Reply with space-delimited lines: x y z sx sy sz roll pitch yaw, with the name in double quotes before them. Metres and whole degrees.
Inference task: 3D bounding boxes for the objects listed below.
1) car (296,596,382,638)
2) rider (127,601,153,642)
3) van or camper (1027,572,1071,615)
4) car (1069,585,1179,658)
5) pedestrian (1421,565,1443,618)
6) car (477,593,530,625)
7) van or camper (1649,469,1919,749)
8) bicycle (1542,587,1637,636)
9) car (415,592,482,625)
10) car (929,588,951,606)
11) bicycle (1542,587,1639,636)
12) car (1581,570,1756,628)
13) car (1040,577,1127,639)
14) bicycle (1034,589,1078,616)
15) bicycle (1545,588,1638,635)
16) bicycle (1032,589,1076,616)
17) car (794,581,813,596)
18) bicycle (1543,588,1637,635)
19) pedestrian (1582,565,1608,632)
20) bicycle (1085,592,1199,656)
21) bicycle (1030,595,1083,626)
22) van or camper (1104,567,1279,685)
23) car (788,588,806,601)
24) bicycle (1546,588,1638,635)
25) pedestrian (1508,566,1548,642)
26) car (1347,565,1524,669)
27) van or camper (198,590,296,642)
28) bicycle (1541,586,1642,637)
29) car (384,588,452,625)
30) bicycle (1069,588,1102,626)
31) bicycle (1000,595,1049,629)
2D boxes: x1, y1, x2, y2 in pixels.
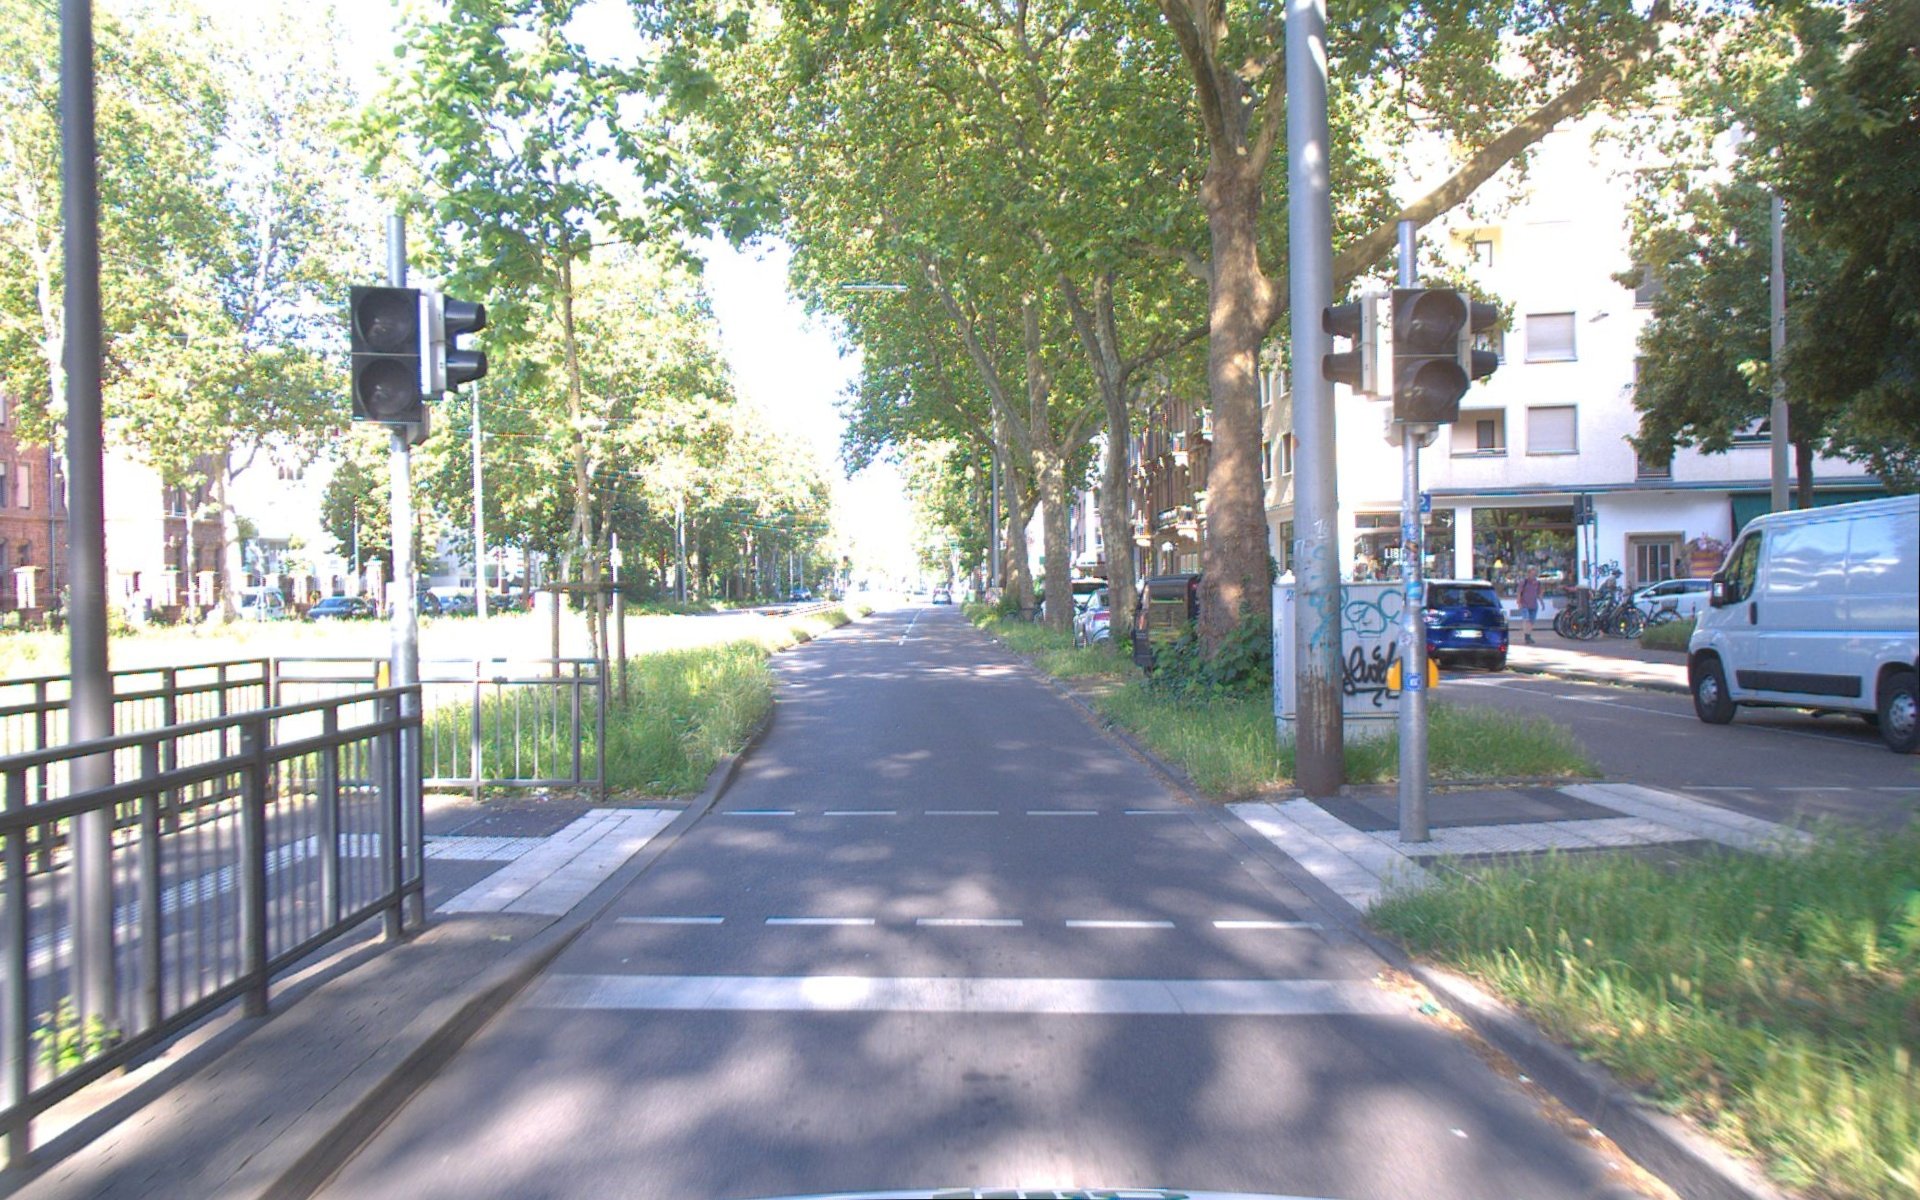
"car" -27.297 0.730 72.867 1.953 1.678 4.827 -1 1 0
"rider" -33.816 0.887 68.217 0.713 1.673 0.686 -1 0 -1
"van or camper" 4.697 -0.342 88.011 1.797 2.134 4.772 2 0 -3
"car" 3.387 0.403 34.992 1.718 1.422 5.025 -1 0 -1
"pedestrian" 15.380 -0.276 53.871 0.579 1.678 0.725 -1 0 10
"car" -27.577 0.505 100.005 2.067 1.840 4.736 -1 1 -3
"van or camper" 9.031 0.057 15.931 2.244 2.326 5.821 -1 0 -1
"bicycle" 15.021 0.274 39.468 2.095 1.123 0.508 -1 0 24
"car" -27.486 0.429 89.012 1.952 1.643 4.422 -1 1 3
"car" -1.904 -0.294 157.195 1.980 1.691 3.999 -1 0 -2
"bicycle" 14.773 0.274 38.791 2.095 1.123 0.508 -1 0 24
"car" 20.861 -0.035 48.891 4.488 1.608 2.002 -1 0 14
"car" 3.518 0.208 48.030 1.865 1.664 4.820 -1 0 -4
"bicycle" 4.737 0.108 82.040 2.120 1.317 0.983 0 0 -1
"bicycle" 15.458 0.281 40.511 2.095 1.123 0.508 -1 0 24
"bicycle" 4.603 0.108 80.887 2.119 1.317 0.983 0 0 1
"car" -21.309 -1.574 225.230 1.953 1.903 4.872 -3 1 0
"bicycle" 15.236 0.281 39.994 2.095 1.123 0.508 -1 0 24
"pedestrian" 16.000 -0.039 41.650 0.575 1.680 0.553 0 1 25
"bicycle" 3.373 0.440 30.775 2.028 1.144 0.676 -1 0 -2
"bicycle" 3.046 0.325 52.048 1.749 0.944 0.644 -1 0 -43
"van or camper" 3.362 0.352 24.443 1.477 1.615 2.826 -1 0 -18
"car" -20.918 -0.664 212.375 1.759 1.534 4.338 -4 0 0
"bicycle" 15.669 0.292 40.991 2.095 1.123 0.472 -1 0 24
"pedestrian" 12.789 0.086 37.264 0.665 1.680 0.906 -1 1 6
"car" 8.904 0.280 31.468 1.782 1.772 5.166 -1 0 -1
"van or camper" -26.928 0.570 62.636 1.954 1.819 4.430 -2 0 -3
"bicycle" 14.577 0.269 38.185 2.145 1.123 0.508 -1 0 24
"car" -27.324 0.302 83.522 1.731 1.749 4.422 -1 1 3
"bicycle" 3.194 0.160 42.319 0.626 0.941 2.164 -1 0 -1
"bicycle" 2.121 0.400 54.133 1.560 1.077 0.404 -1 0 6
